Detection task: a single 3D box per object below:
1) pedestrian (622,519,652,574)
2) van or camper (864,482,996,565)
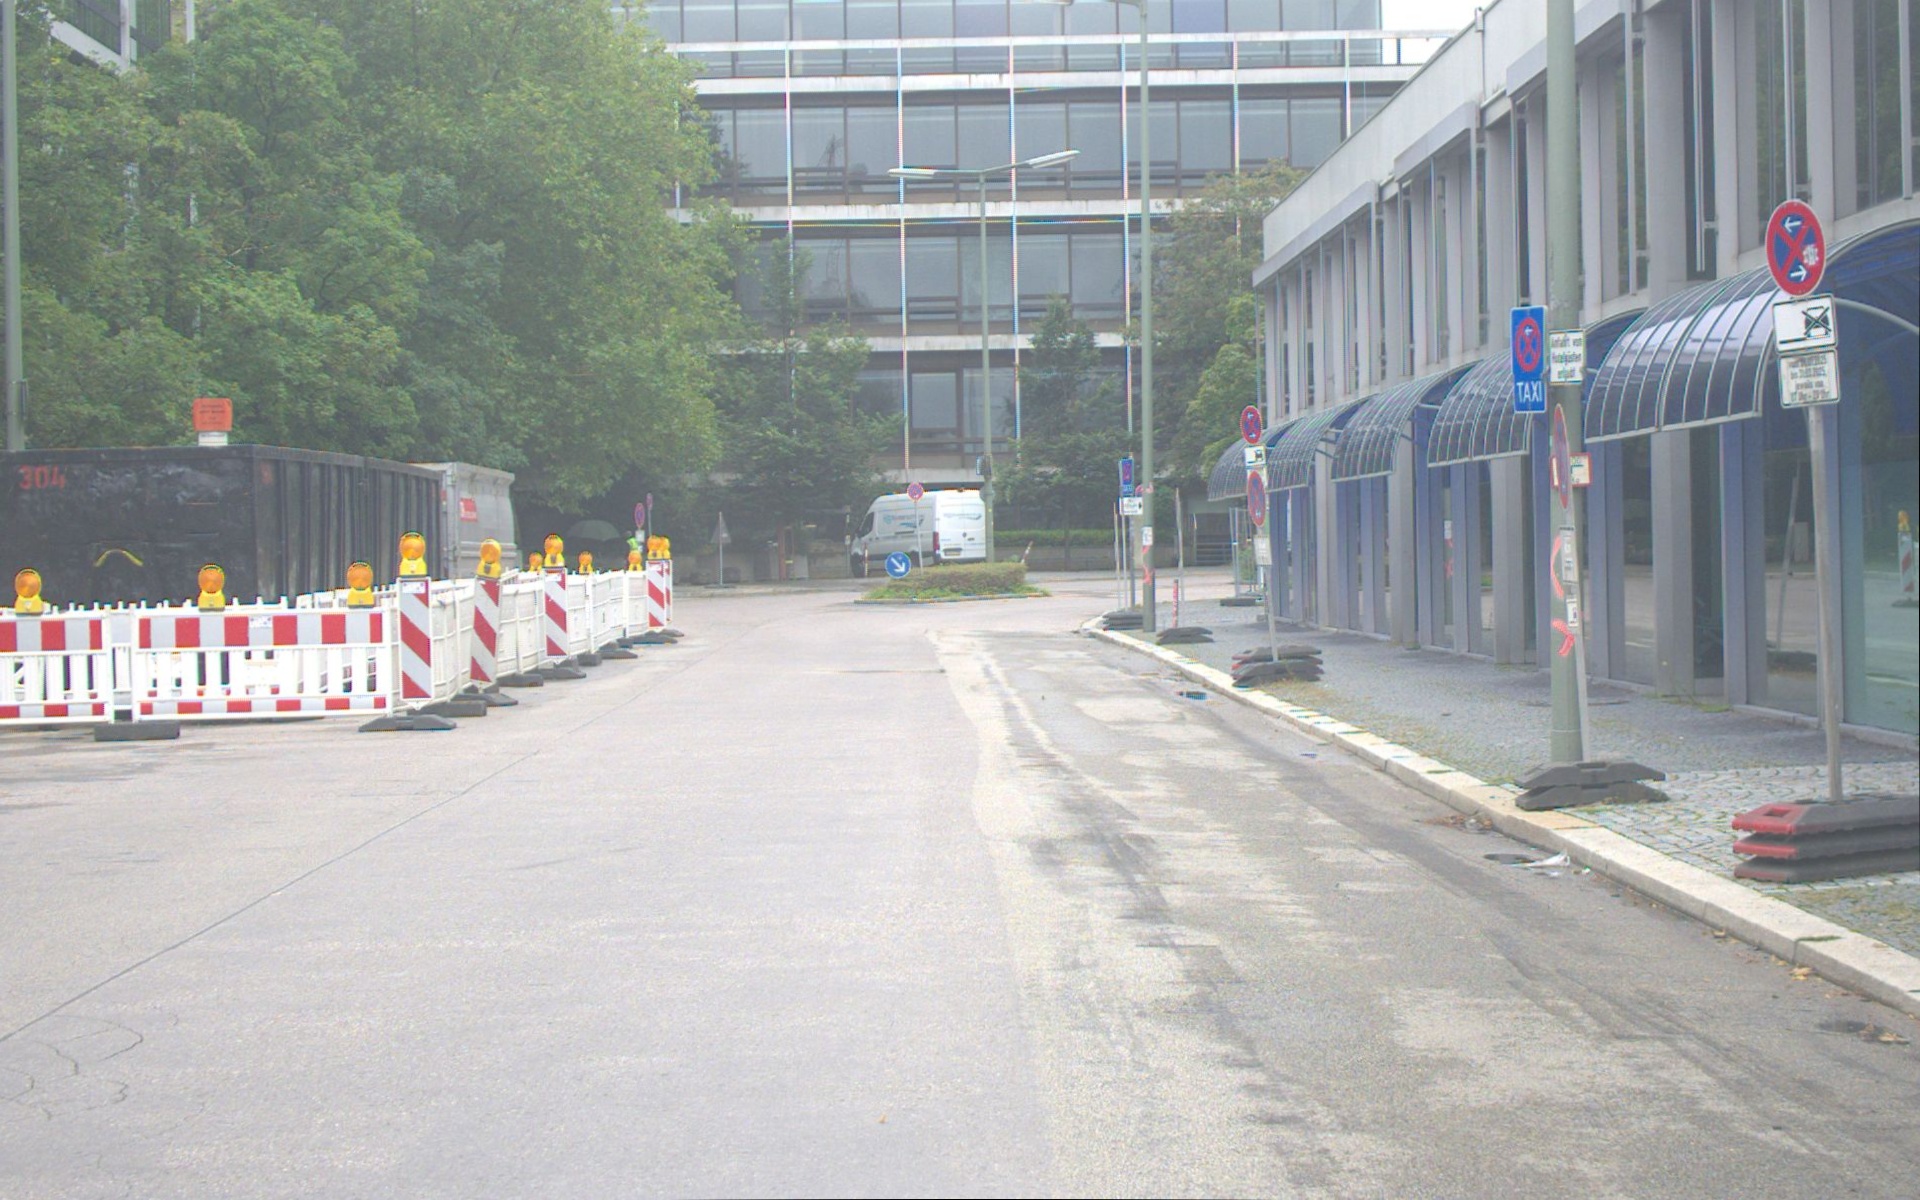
[{"bbox_3d":[-9.903,-1.644,105.296,0.741,1.671,0.682,-1,1,-20],"label":"pedestrian"},{"bbox_3d":[-0.966,-2.364,106.553,2.085,2.483,5.068,-1,1,-26],"label":"van or camper"}]
